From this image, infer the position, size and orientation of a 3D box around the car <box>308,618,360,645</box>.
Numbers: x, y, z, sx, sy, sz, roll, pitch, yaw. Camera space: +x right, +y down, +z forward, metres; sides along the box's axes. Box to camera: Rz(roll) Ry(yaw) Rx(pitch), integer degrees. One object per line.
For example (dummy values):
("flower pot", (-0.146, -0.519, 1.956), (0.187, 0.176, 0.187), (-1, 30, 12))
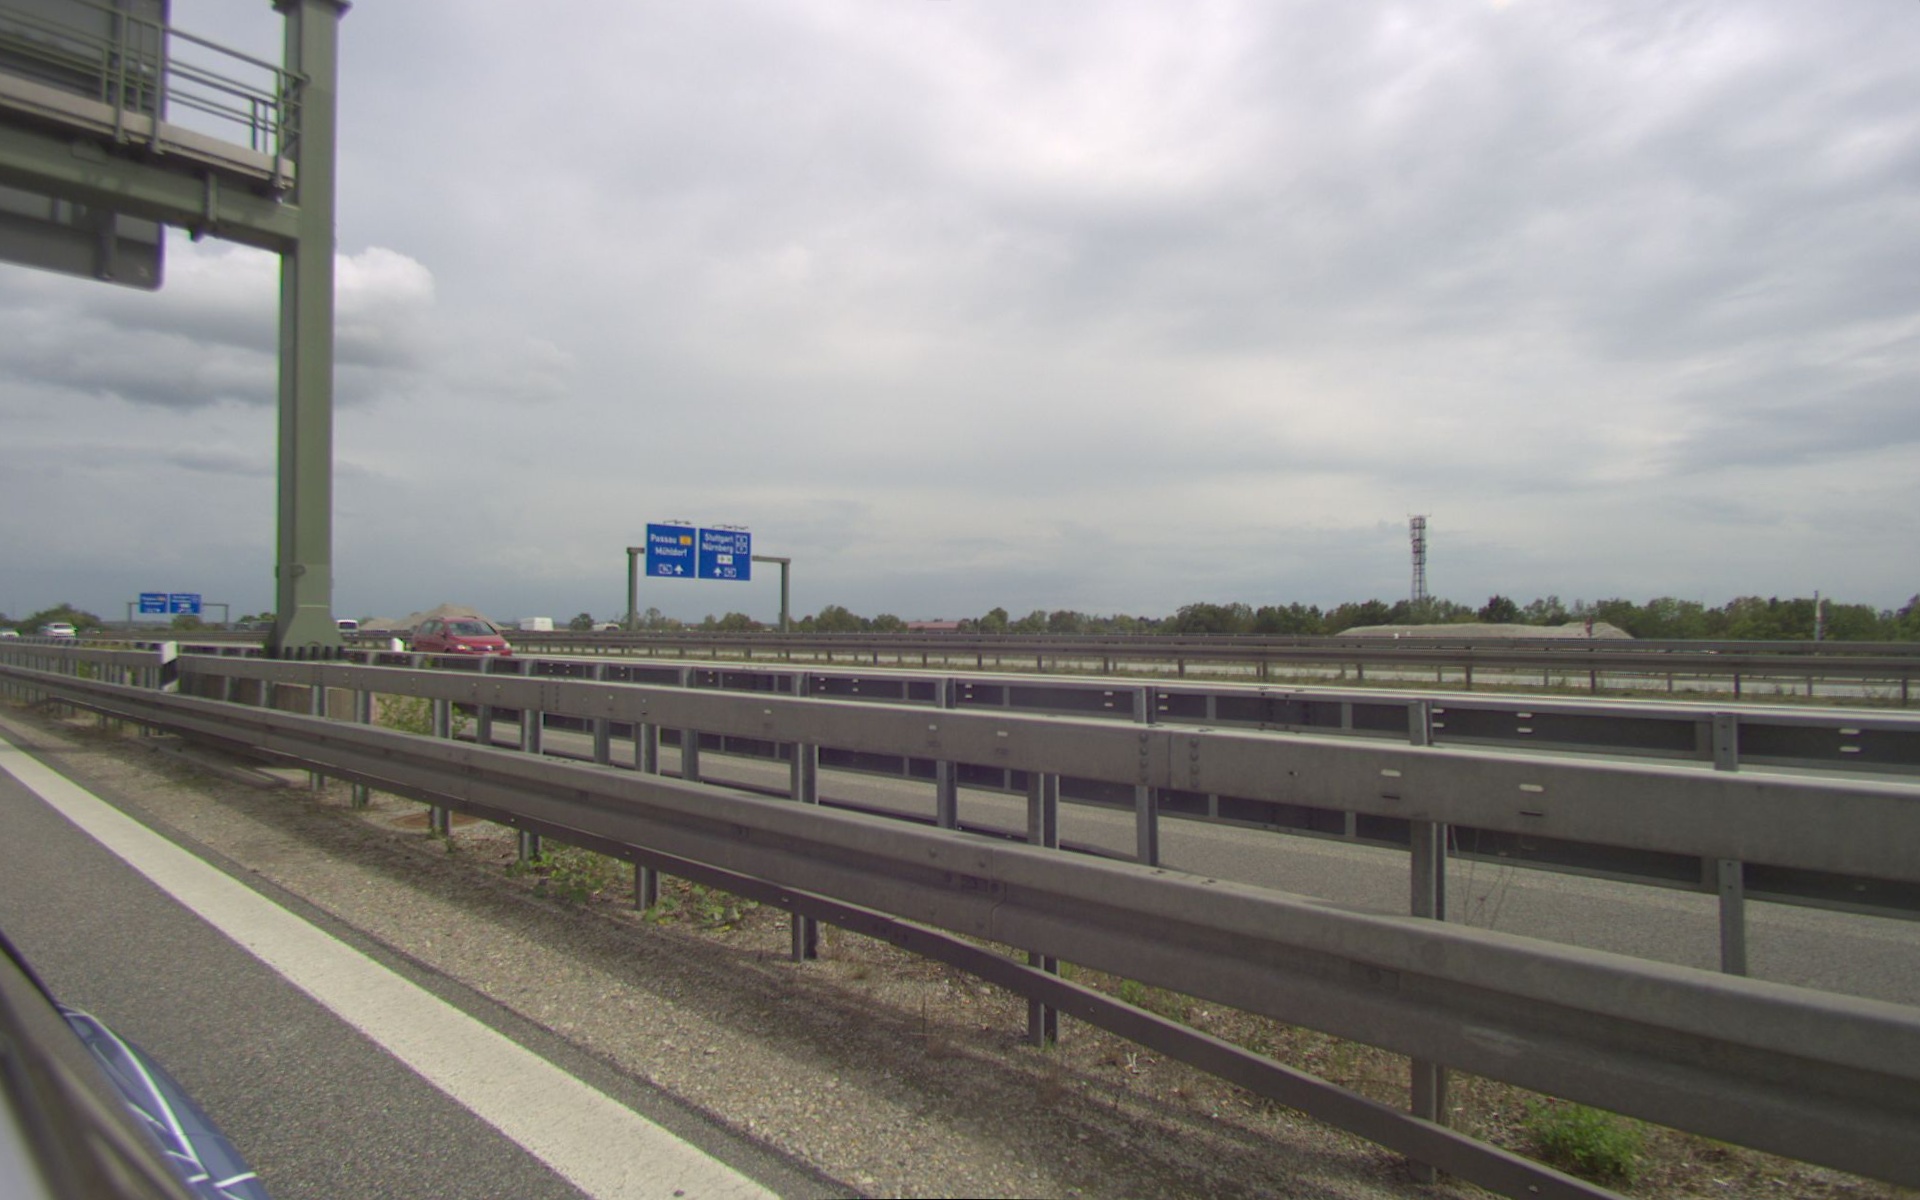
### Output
("car", (-46.344, 2.347, 74.888), (4.820, 1.807, 1.891), (-2, 2, 41))

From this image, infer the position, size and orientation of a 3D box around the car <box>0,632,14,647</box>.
("car", (-125.958, 5.253, 132.879), (3.996, 1.896, 1.974), (-3, -1, 39))

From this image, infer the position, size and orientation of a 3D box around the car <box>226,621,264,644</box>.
("car", (-62.336, 2.798, 88.257), (4.902, 1.821, 1.723), (-1, 1, 43))

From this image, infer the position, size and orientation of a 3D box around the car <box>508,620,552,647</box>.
("car", (-40.043, 3.135, 94.230), (4.488, 2.323, 1.973), (-3, -1, 41))

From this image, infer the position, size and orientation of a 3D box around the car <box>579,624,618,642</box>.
("car", (-33.316, 3.056, 93.171), (3.909, 1.506, 1.649), (-1, 2, 41))

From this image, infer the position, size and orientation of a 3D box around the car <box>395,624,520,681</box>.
("car", (-15.283, 1.586, 30.711), (4.351, 1.557, 1.801), (-3, -1, 40))

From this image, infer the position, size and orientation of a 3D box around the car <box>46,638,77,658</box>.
("car", (-95.590, 5.064, 107.688), (4.464, 2.029, 1.972), (-3, -1, 42))
